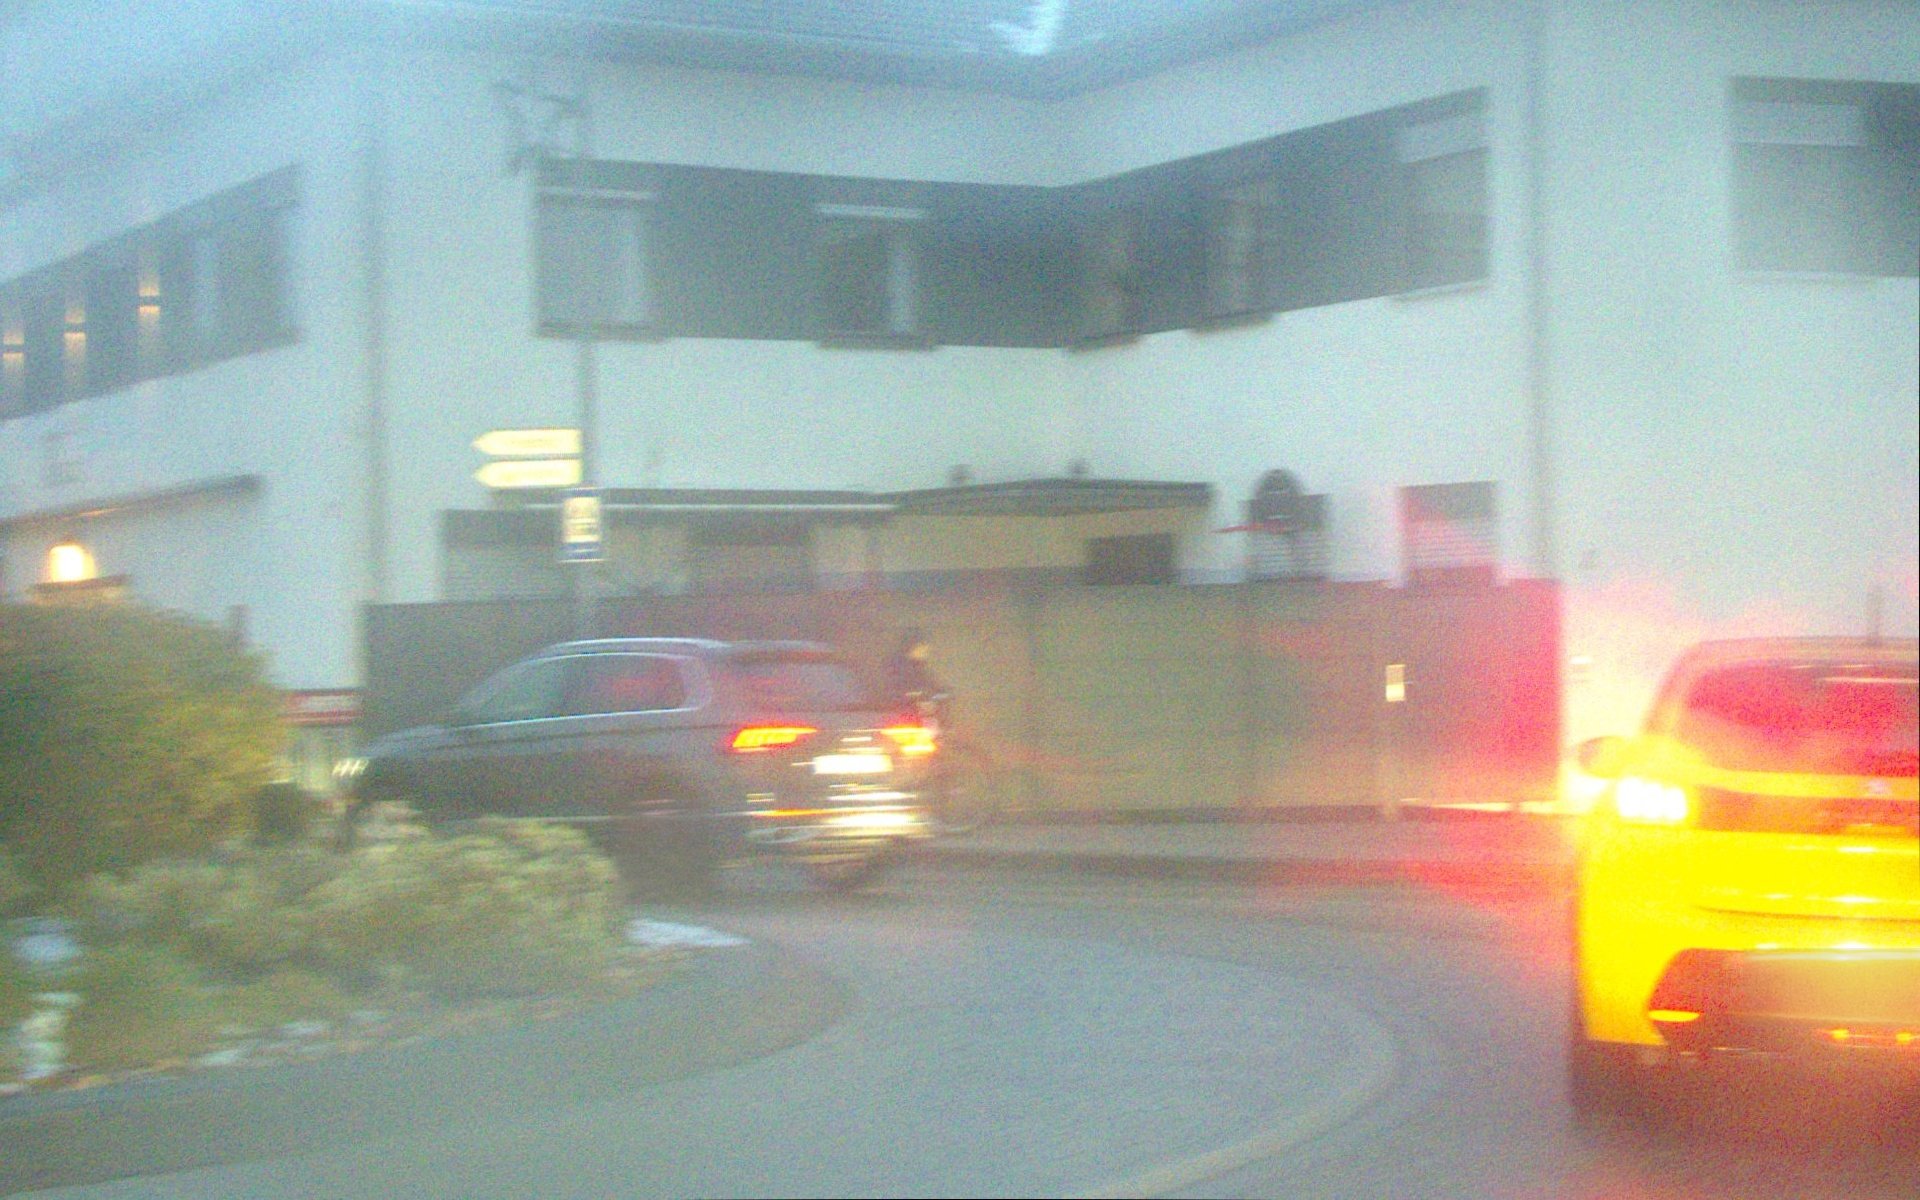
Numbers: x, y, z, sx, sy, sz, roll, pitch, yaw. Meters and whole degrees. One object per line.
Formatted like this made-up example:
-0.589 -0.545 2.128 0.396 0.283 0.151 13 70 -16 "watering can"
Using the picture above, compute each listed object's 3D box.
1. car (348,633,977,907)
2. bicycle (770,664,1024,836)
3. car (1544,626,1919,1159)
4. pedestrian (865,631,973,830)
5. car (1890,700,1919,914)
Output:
-2.005 1.032 22.548 3.947 1.610 1.917 0 0 41 "car"
-0.499 1.169 27.154 1.938 1.291 0.551 0 1 21 "bicycle"
2.832 0.823 11.205 1.711 1.417 4.010 0 -1 11 "car"
-0.326 1.033 27.512 0.690 1.559 0.609 0 0 20 "pedestrian"
8.371 1.316 22.084 4.220 1.379 1.851 0 -3 -11 "car"
